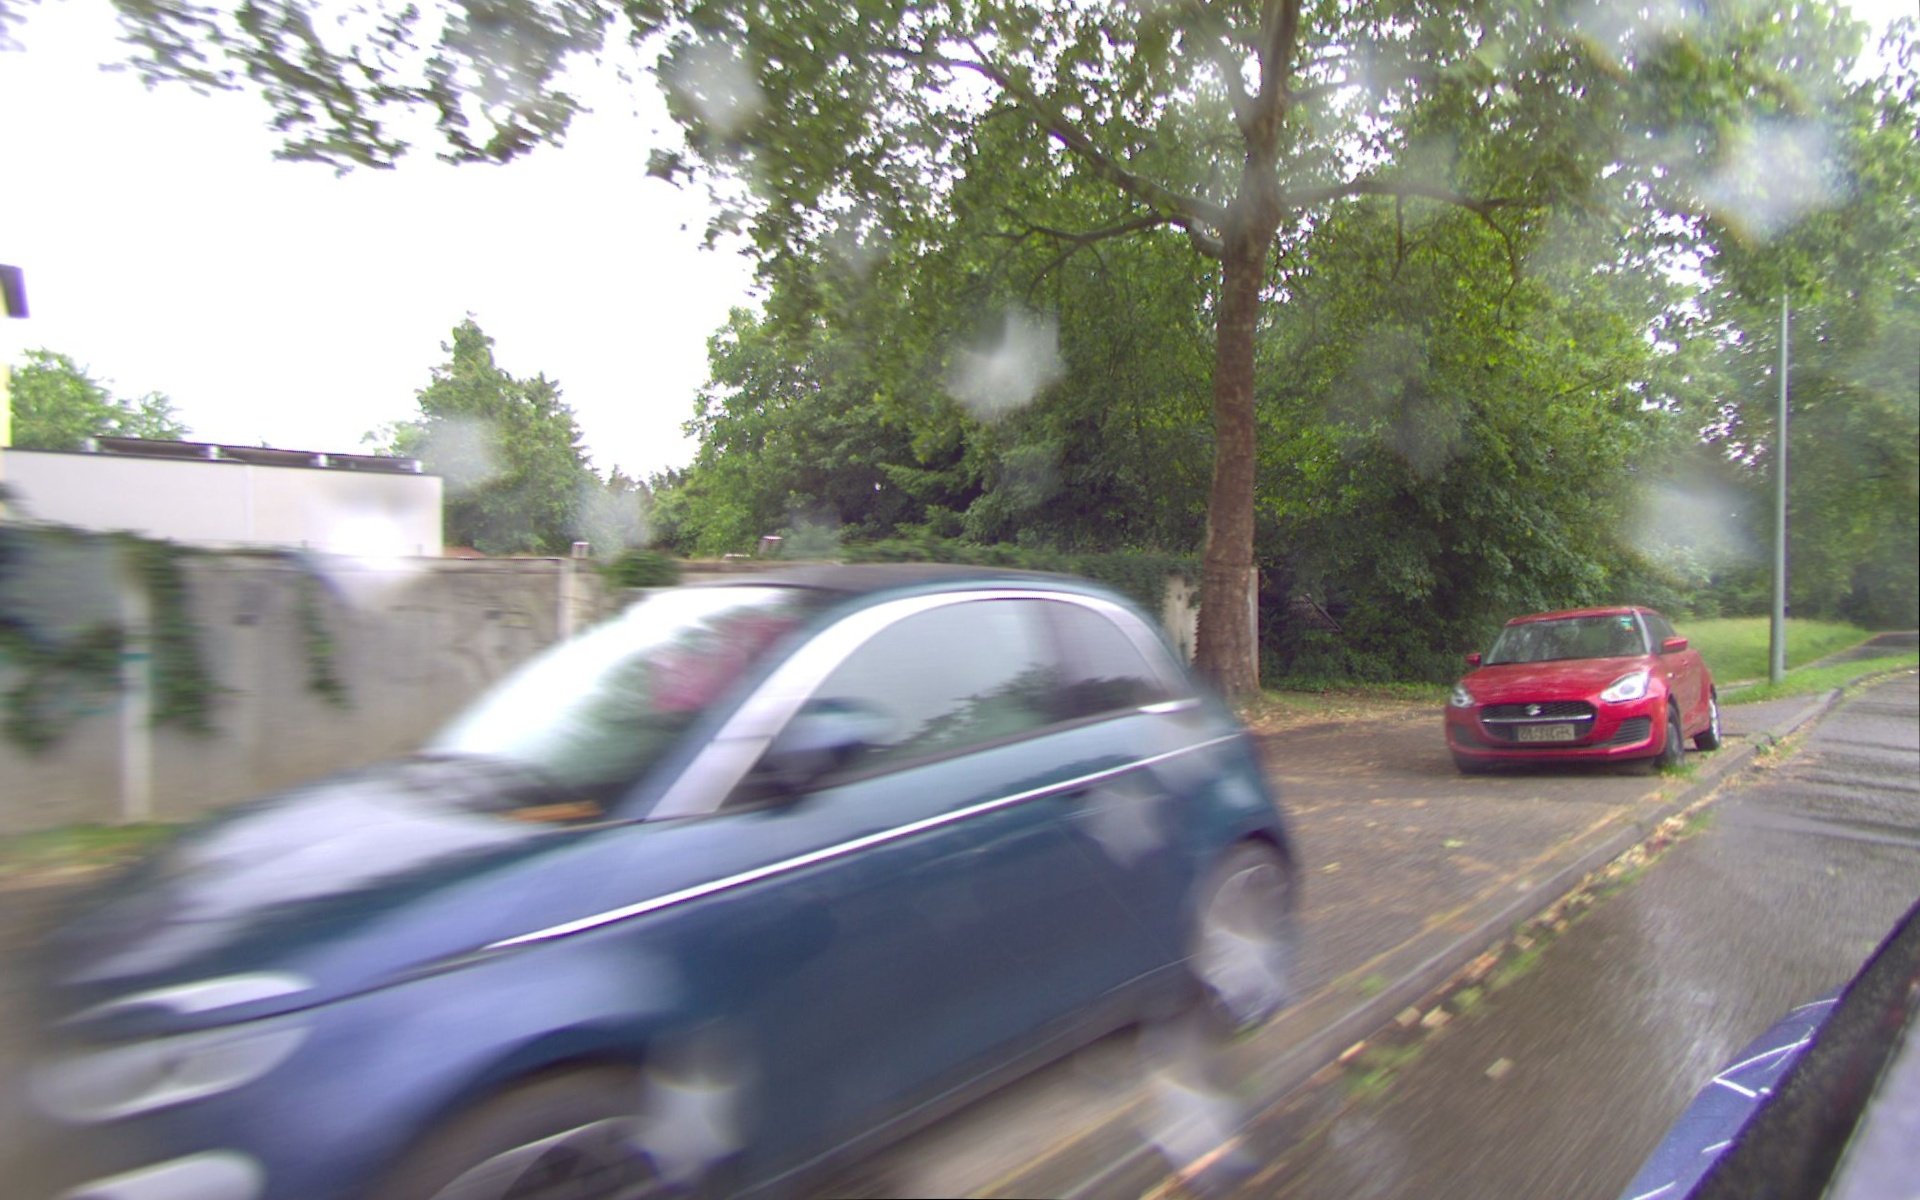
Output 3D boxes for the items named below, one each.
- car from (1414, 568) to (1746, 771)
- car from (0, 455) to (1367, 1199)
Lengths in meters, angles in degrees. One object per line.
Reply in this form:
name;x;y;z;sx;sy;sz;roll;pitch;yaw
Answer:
car;6.023;0.660;9.668;1.818;1.538;3.682;-8;-7;44
car;-0.476;0.593;2.950;3.540;1.511;1.750;-1;-1;-44
